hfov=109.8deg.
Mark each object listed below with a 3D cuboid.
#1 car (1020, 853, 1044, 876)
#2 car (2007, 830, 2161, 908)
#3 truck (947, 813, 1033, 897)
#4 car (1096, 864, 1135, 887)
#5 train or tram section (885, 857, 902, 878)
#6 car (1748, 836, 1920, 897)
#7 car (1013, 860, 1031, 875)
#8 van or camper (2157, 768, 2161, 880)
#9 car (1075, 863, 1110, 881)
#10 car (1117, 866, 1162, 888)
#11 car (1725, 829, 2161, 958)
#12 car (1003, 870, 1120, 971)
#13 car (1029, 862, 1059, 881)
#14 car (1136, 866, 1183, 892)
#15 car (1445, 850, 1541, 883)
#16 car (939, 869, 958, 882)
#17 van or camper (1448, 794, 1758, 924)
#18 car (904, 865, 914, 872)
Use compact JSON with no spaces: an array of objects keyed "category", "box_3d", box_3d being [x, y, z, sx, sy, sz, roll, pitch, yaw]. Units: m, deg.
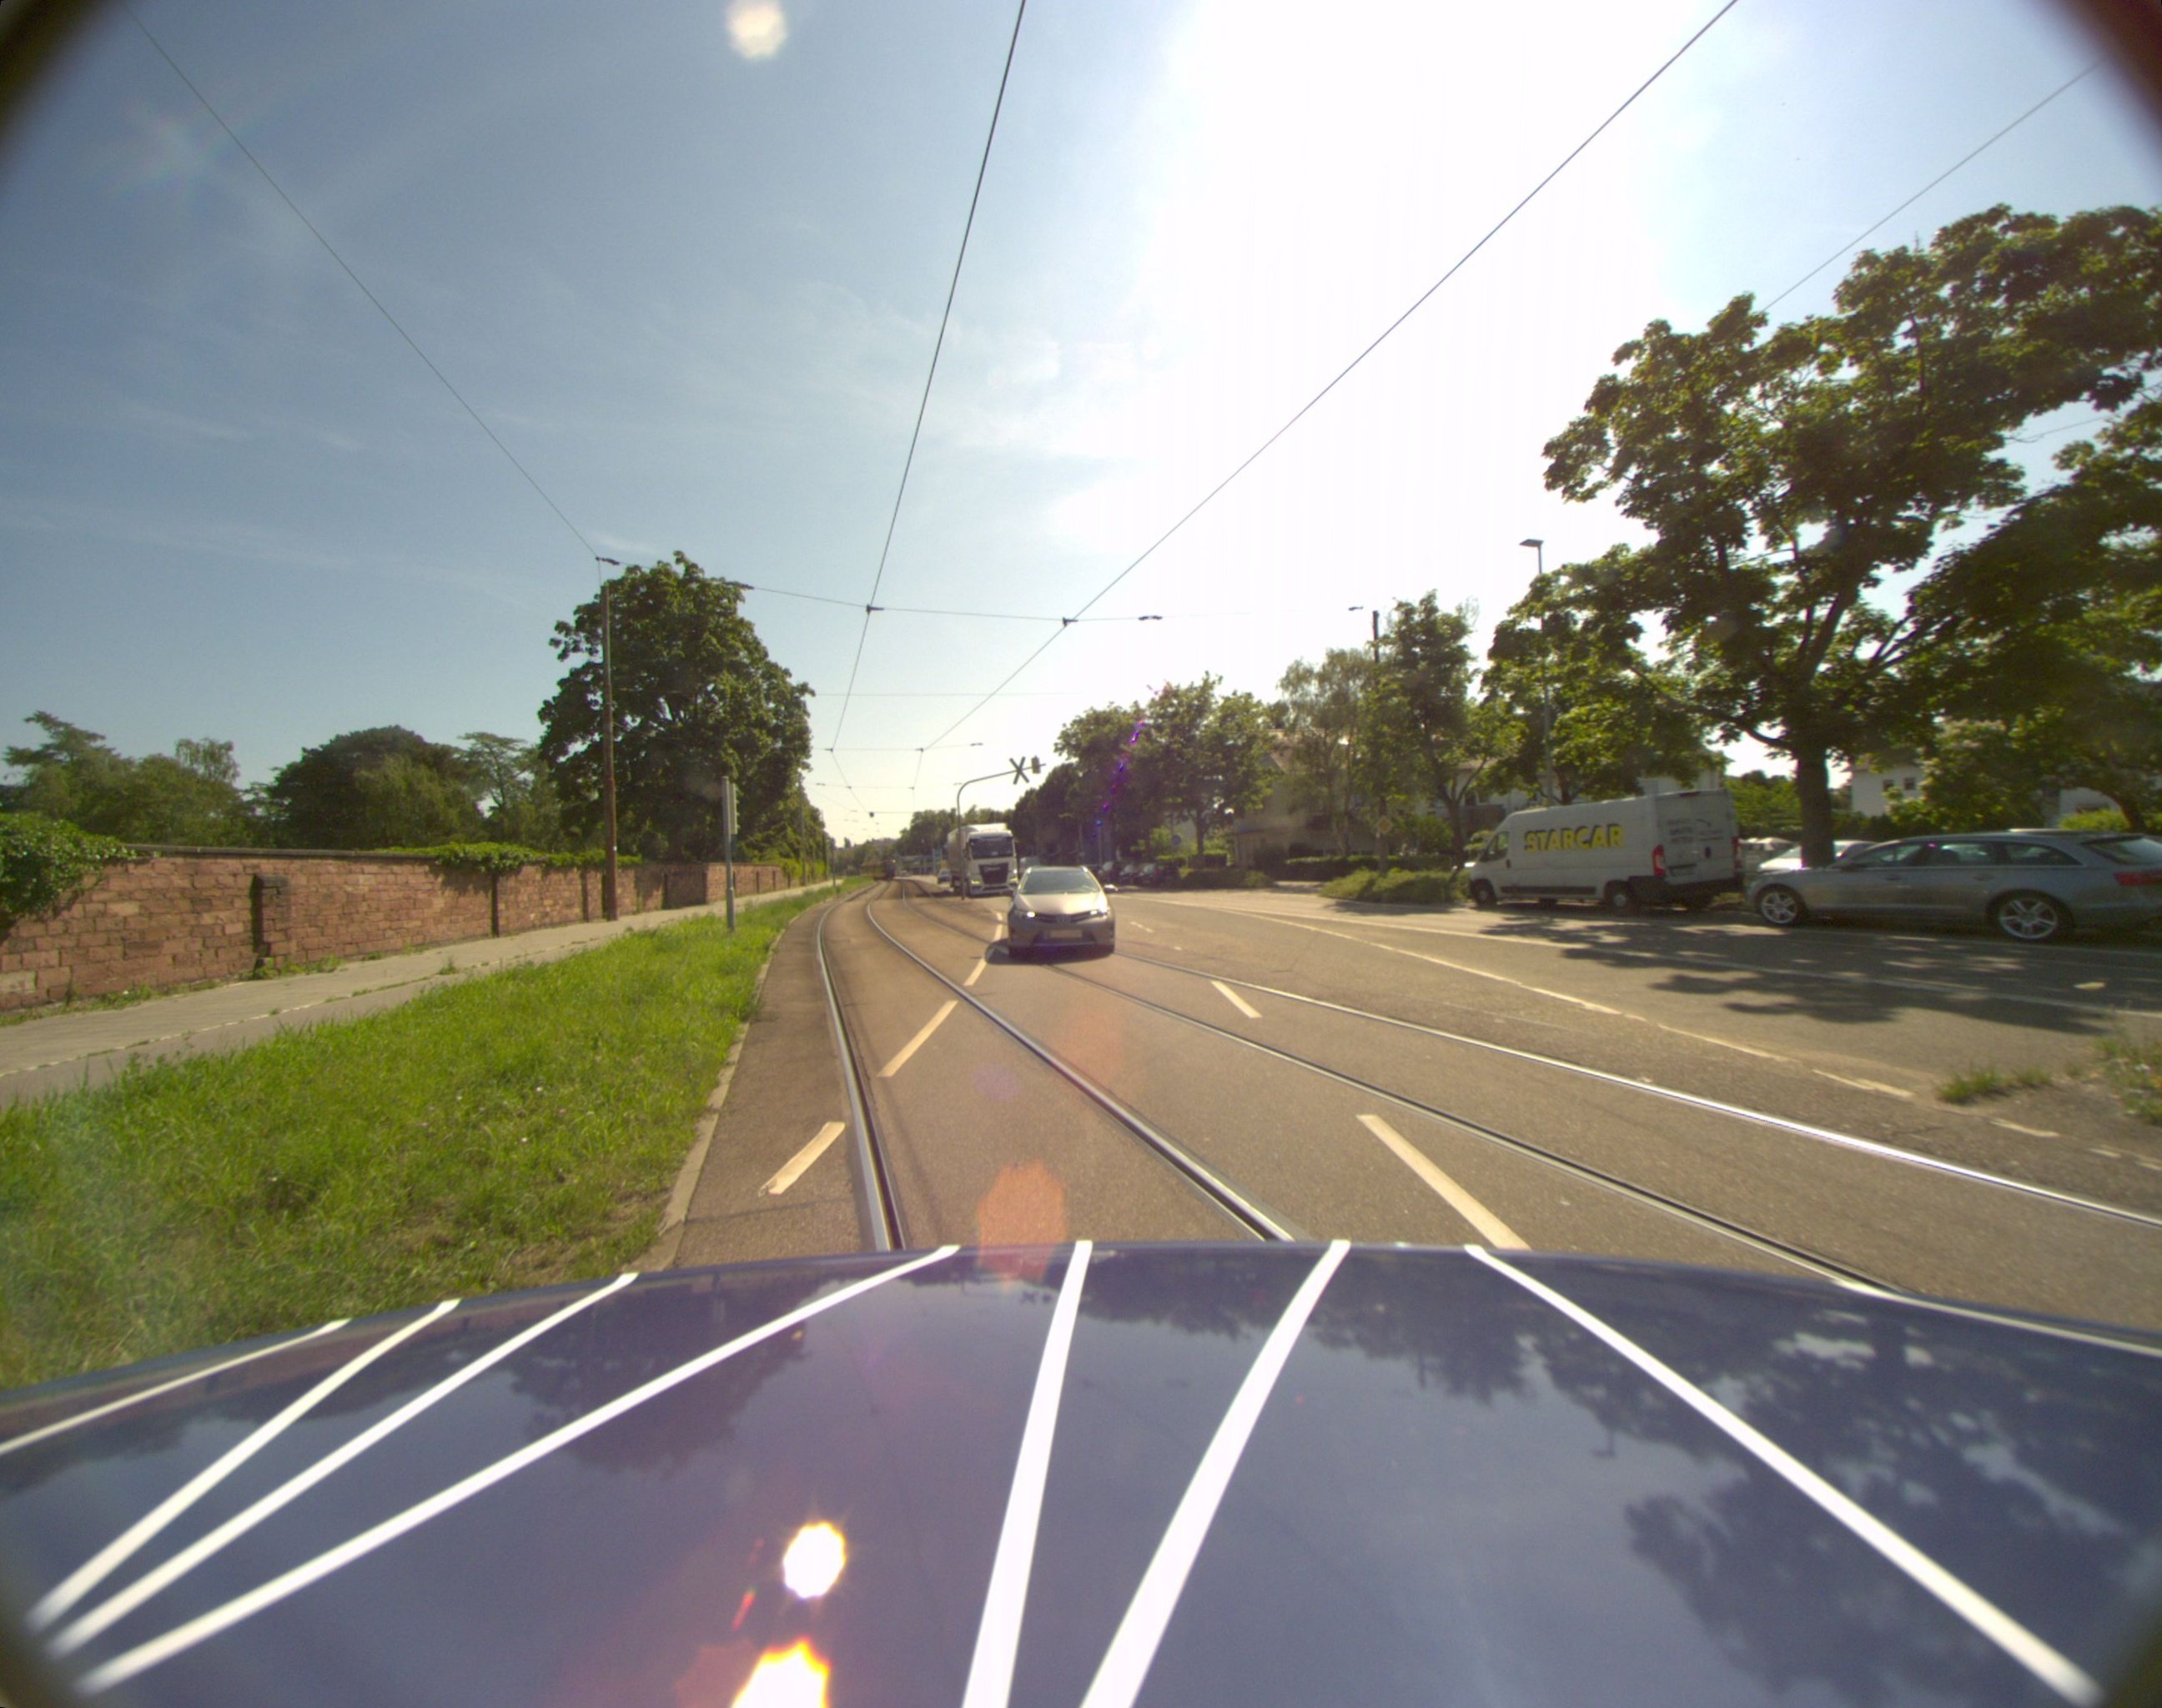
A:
[{"category":"car","box_3d":[-6.068,1.330,93.467,2.019,2.635,6.080,-2,0,-13]},{"category":"car","box_3d":[22.893,0.272,16.704,4.002,1.535,1.661,-2,0,-15]},{"category":"truck","box_3d":[-5.877,0.120,45.954,3.394,4.046,14.271,-4,0,-13]},{"category":"car","box_3d":[2.525,1.568,56.759,1.681,1.603,4.237,-2,0,-15]},{"category":"train or tram section","box_3d":[-35.958,2.527,146.100,2.679,3.631,15.289,-4,0,-13]},{"category":"car","box_3d":[21.476,0.347,21.696,4.002,1.535,1.661,-2,0,-15]},{"category":"car","box_3d":[-7.958,1.817,101.559,1.681,1.925,4.453,-2,0,-13]},{"category":"van or camper","box_3d":[34.652,-0.985,21.475,6.976,3.225,2.579,-2,0,-15]},{"category":"car","box_3d":[0.931,1.504,63.305,1.681,1.427,4.452,-2,-1,-15]},{"category":"car","box_3d":[3.909,1.515,51.304,1.703,1.387,4.576,-2,-1,-13]},{"category":"car","box_3d":[13.028,0.478,11.407,1.939,1.446,4.880,-4,0,-13]},{"category":"car","box_3d":[-0.401,1.052,13.602,1.720,1.439,4.029,-2,0,-3]},{"category":"car","box_3d":[-2.945,1.389,59.987,1.734,1.456,3.996,-1,-1,-12]},{"category":"car","box_3d":[4.746,1.498,46.504,1.621,1.442,4.079,-2,-1,-12]},{"category":"car","box_3d":[21.119,0.638,39.056,3.999,1.516,1.806,-2,0,-7]},{"category":"car","box_3d":[-13.687,2.166,78.221,1.702,1.248,3.996,-2,0,-12]},{"category":"van or camper","box_3d":[11.807,0.138,17.997,2.265,2.499,6.141,-2,-1,-11]},{"category":"car","box_3d":[-46.041,3.873,203.577,2.002,2.002,3.993,-2,0,-21]}]
